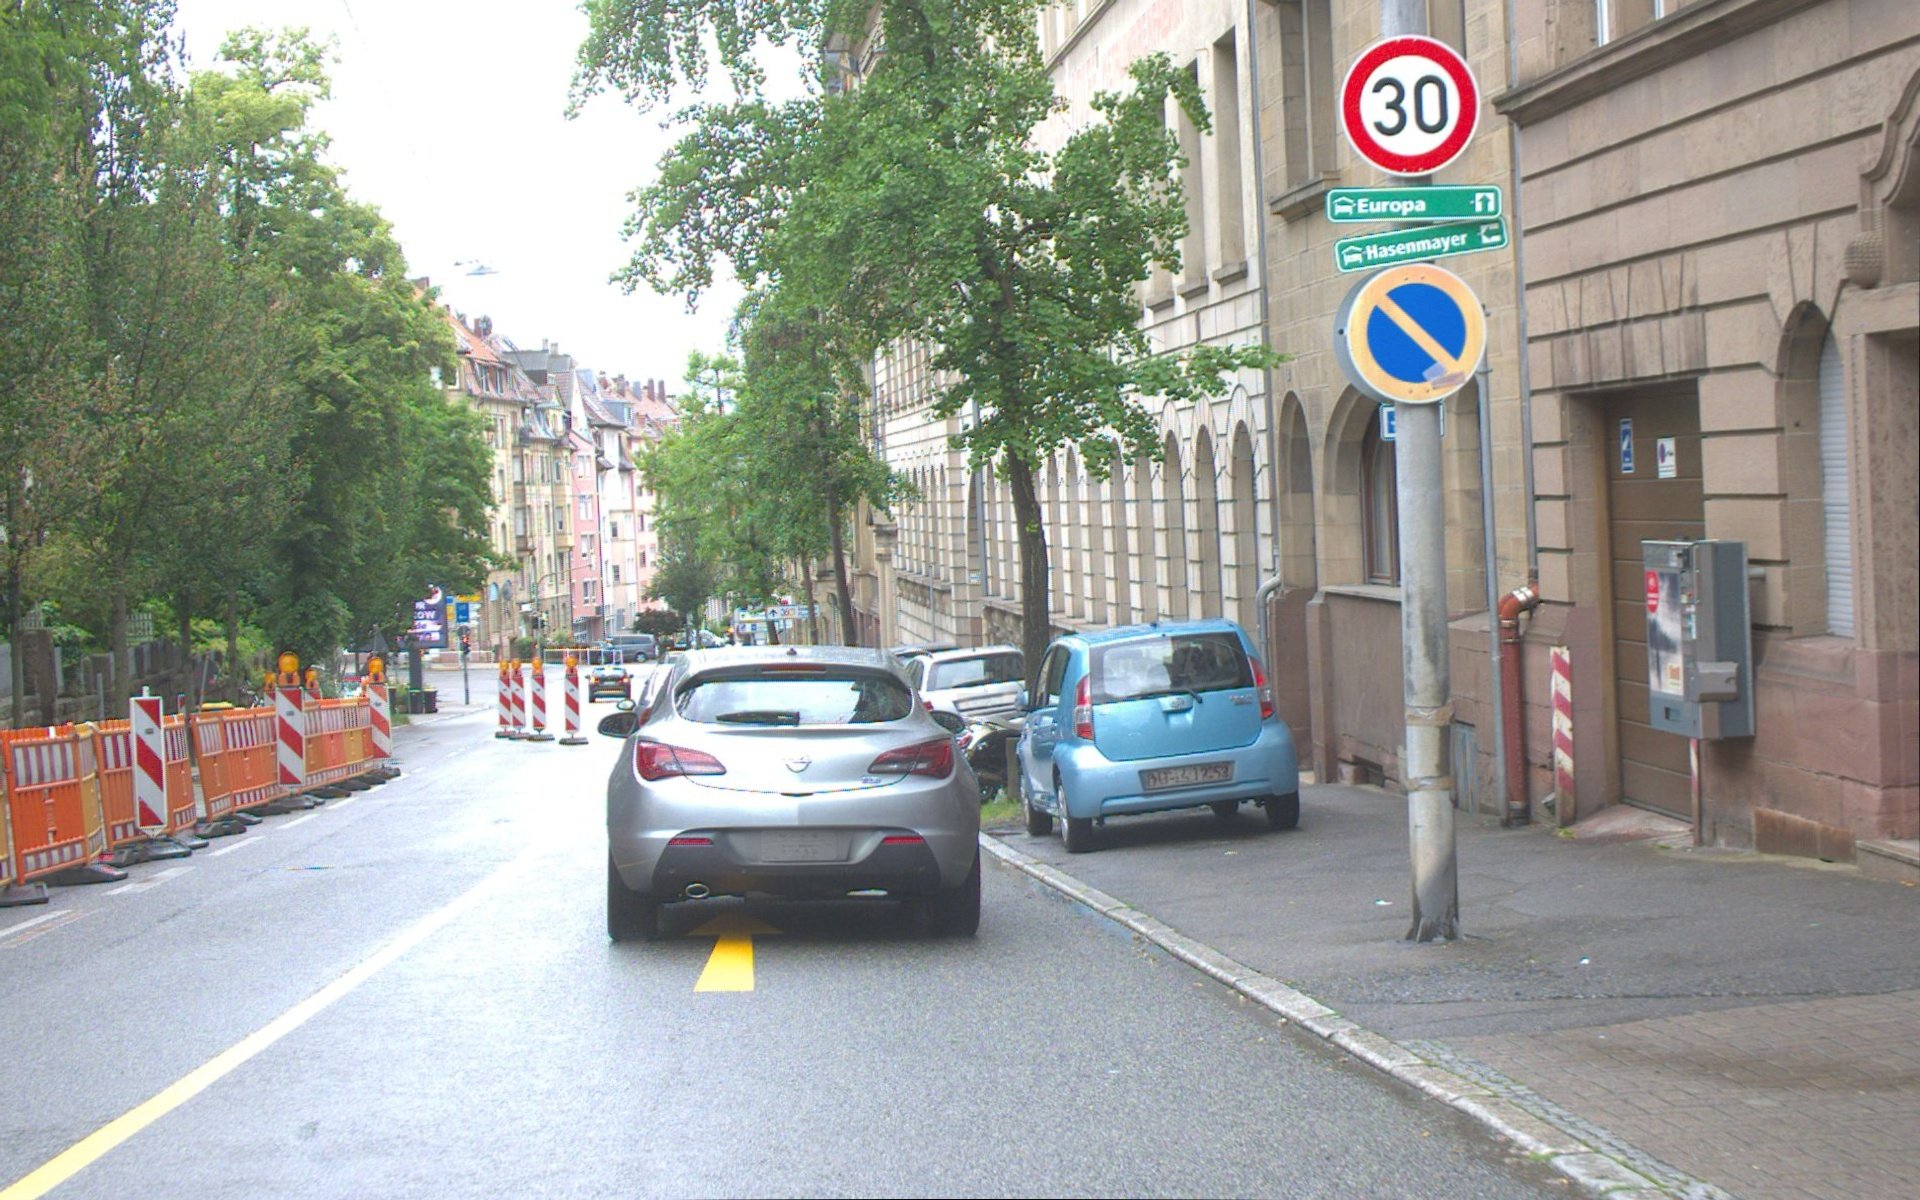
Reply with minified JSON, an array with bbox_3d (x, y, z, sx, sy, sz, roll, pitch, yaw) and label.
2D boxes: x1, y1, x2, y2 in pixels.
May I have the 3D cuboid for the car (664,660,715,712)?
[{"bbox_3d":[-10.231,3.260,130.067,1.715,1.776,3.665,-5,-1,-5],"label":"car"}]

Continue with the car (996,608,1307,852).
[{"bbox_3d":[1.324,0.927,25.204,1.656,1.538,3.665,-4,-1,-5],"label":"car"}]

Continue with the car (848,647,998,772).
[{"bbox_3d":[-0.533,1.476,46.856,1.638,1.515,3.183,-5,-1,-6],"label":"car"}]

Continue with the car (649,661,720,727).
[{"bbox_3d":[-7.087,2.400,88.257,1.656,1.538,3.665,-4,-1,-5],"label":"car"}]

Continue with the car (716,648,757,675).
[{"bbox_3d":[-14.318,3.923,220.097,1.994,1.678,3.999,0,-2,5],"label":"car"}]

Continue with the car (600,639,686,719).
[{"bbox_3d":[-6.789,1.695,73.317,1.656,1.538,3.665,-4,-1,-6],"label":"car"}]

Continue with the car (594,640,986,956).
[{"bbox_3d":[-0.886,0.951,18.017,1.811,1.445,3.869,-1,-1,-3],"label":"car"}]

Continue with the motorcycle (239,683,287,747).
[{"bbox_3d":[-15.018,2.487,74.158,0.765,1.341,2.203,0,-2,-5],"label":"motorcycle"}]

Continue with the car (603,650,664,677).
[{"bbox_3d":[-21.543,4.192,227.105,3.986,1.744,2.000,1,-2,-5],"label":"car"}]

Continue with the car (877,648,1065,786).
[{"bbox_3d":[0.075,1.372,41.357,1.695,1.426,4.423,-5,-1,-6],"label":"car"}]

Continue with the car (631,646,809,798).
[{"bbox_3d":[-2.546,1.259,36.583,1.772,1.499,3.869,-1,-1,-4],"label":"car"}]

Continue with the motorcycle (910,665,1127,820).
[{"bbox_3d":[0.538,1.276,31.056,1.933,1.231,0.657,-4,0,-41],"label":"motorcycle"}]

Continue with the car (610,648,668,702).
[{"bbox_3d":[-9.985,2.330,106.952,1.656,1.538,3.665,-4,-1,-5],"label":"car"}]

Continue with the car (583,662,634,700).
[{"bbox_3d":[-14.881,3.438,145.367,1.993,1.496,4.000,-2,-1,-7],"label":"car"}]

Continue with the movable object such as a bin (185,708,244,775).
[{"bbox_3d":[-13.877,2.627,64.002,0.944,1.210,0.856,0,-1,-4],"label":"movable object such as a bin"}]
